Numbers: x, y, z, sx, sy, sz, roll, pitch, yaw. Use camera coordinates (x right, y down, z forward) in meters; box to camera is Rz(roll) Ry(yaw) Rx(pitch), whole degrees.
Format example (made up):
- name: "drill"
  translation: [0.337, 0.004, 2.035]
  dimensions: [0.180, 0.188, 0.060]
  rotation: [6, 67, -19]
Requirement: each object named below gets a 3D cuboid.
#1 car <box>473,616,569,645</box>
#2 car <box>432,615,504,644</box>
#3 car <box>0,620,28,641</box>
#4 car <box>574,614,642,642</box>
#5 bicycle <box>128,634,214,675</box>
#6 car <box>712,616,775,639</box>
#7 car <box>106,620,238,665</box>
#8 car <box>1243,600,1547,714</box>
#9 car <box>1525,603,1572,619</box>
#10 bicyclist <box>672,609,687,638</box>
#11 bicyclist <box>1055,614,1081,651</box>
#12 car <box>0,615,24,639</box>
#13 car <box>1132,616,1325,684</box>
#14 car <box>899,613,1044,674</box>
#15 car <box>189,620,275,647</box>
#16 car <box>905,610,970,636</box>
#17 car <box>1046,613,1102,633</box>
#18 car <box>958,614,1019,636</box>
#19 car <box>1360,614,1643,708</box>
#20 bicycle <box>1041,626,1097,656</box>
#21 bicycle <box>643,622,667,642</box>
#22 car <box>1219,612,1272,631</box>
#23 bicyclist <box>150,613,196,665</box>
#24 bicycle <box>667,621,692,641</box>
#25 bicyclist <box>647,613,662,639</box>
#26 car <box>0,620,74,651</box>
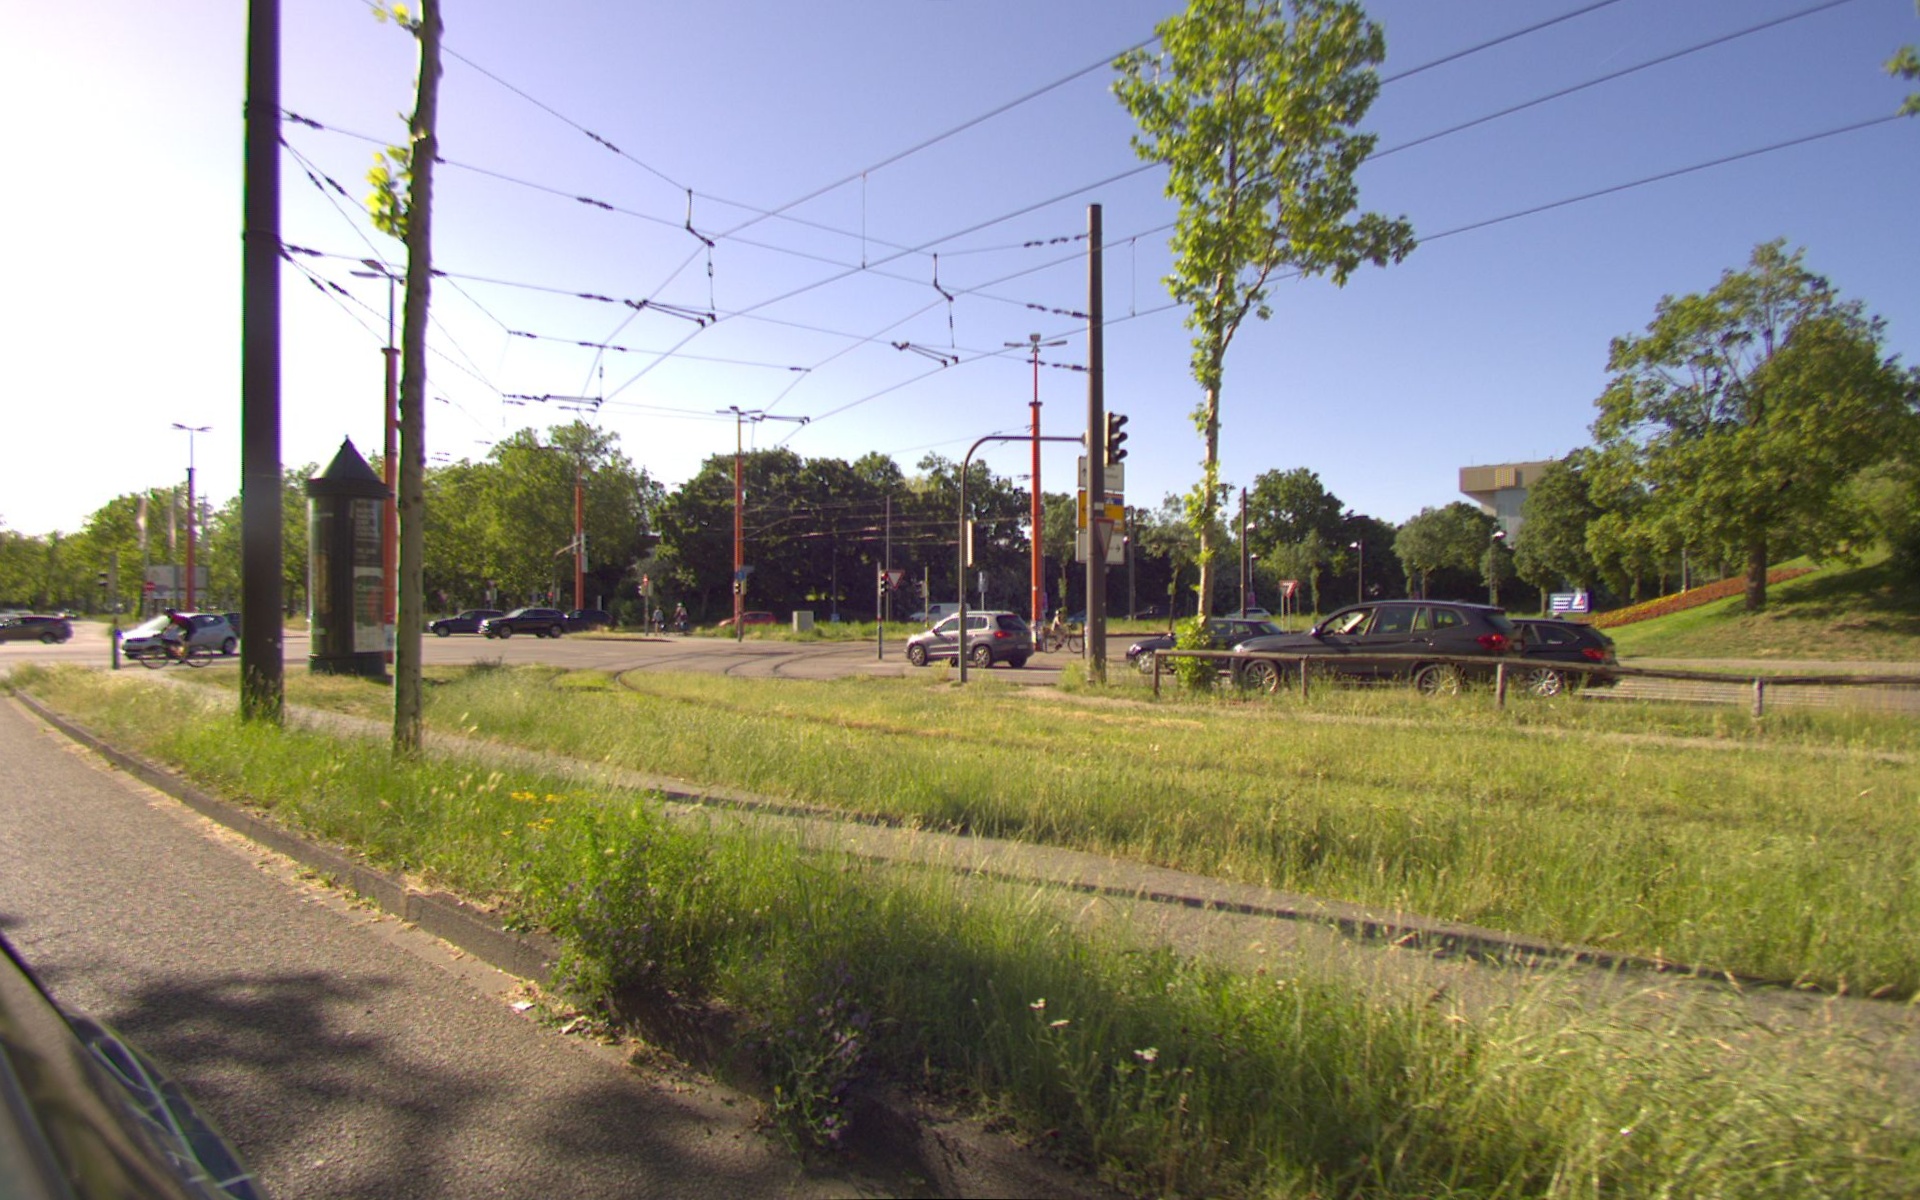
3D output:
- name: "car"
  translation: [-24.208, 1.663, 55.928]
  dimensions: [1.790, 1.522, 4.559]
  rotation: [-2, -2, 44]
- name: "car"
  translation: [-30.408, 1.815, 62.670]
  dimensions: [3.930, 1.667, 1.806]
  rotation: [0, -2, -22]
- name: "car"
  translation: [-72.819, 2.338, 77.611]
  dimensions: [1.772, 1.522, 4.006]
  rotation: [0, -1, -40]
- name: "car"
  translation: [-21.804, 1.703, 62.733]
  dimensions: [3.931, 1.667, 1.806]
  rotation: [0, -1, -19]
- name: "bicycle"
  translation: [-23.201, 1.586, 29.795]
  dimensions: [1.868, 1.116, 0.705]
  rotation: [0, -1, -26]
- name: "car"
  translation: [-14.859, 1.867, 69.375]
  dimensions: [3.930, 1.522, 1.806]
  rotation: [0, -2, -22]
- name: "car"
  translation: [-29.535, 1.568, 38.069]
  dimensions: [1.684, 1.600, 3.896]
  rotation: [-1, -1, 7]
- name: "car"
  translation: [7.009, 0.847, 16.572]
  dimensions: [4.232, 1.629, 1.775]
  rotation: [-1, -1, 42]
- name: "car"
  translation: [56.614, 1.077, 97.341]
  dimensions: [3.930, 1.522, 1.806]
  rotation: [0, -2, -22]
- name: "bicyclist"
  translation: [-16.169, 1.359, 58.246]
  dimensions: [0.715, 1.664, 0.554]
  rotation: [-1, -1, 43]
- name: "bicyclist"
  translation: [4.150, 1.249, 39.017]
  dimensions: [0.788, 1.391, 0.654]
  rotation: [-2, -4, 28]
- name: "car"
  translation: [-62.061, 1.731, 65.486]
  dimensions: [1.771, 1.522, 4.008]
  rotation: [0, -1, -37]
- name: "car"
  translation: [6.568, 1.173, 24.967]
  dimensions: [4.263, 1.522, 1.776]
  rotation: [-1, -1, 39]
- name: "car"
  translation: [0.288, 1.256, 30.446]
  dimensions: [4.266, 1.691, 1.775]
  rotation: [-1, -1, 42]
- name: "car"
  translation: [-41.817, 1.922, 58.225]
  dimensions: [3.720, 1.518, 1.619]
  rotation: [0, -2, -23]
- name: "car"
  translation: [-1.663, 1.689, 74.671]
  dimensions: [4.478, 1.849, 1.806]
  rotation: [0, -2, -23]
- name: "car"
  translation: [8.882, 1.779, 78.820]
  dimensions: [3.930, 1.522, 1.806]
  rotation: [0, -2, -22]
- name: "car"
  translation: [2.058, 1.766, 73.005]
  dimensions: [3.930, 1.522, 1.806]
  rotation: [0, -2, -22]
- name: "car"
  translation: [9.794, 1.030, 18.489]
  dimensions: [4.266, 1.522, 1.775]
  rotation: [-1, -1, 42]
- name: "bicycle"
  translation: [4.185, 1.593, 38.978]
  dimensions: [2.035, 1.116, 0.654]
  rotation: [-2, -4, 29]
- name: "bicycle"
  translation: [-17.484, 1.802, 57.931]
  dimensions: [1.800, 1.116, 0.493]
  rotation: [-1, -1, 44]
- name: "car"
  translation: [23.924, 1.777, 84.786]
  dimensions: [3.930, 1.522, 1.806]
  rotation: [0, -2, -23]
- name: "bicyclist"
  translation: [-23.177, 1.144, 29.811]
  dimensions: [0.940, 1.489, 0.705]
  rotation: [0, -1, -26]
- name: "bicycle"
  translation: [-16.169, 1.797, 58.242]
  dimensions: [1.800, 1.116, 0.554]
  rotation: [-1, -1, 44]
- name: "bicyclist"
  translation: [-17.486, 1.466, 57.936]
  dimensions: [0.778, 1.458, 0.493]
  rotation: [-1, -1, 44]
- name: "car"
  translation: [-47.652, 1.813, 51.355]
  dimensions: [3.720, 1.522, 1.619]
  rotation: [0, -2, -27]
